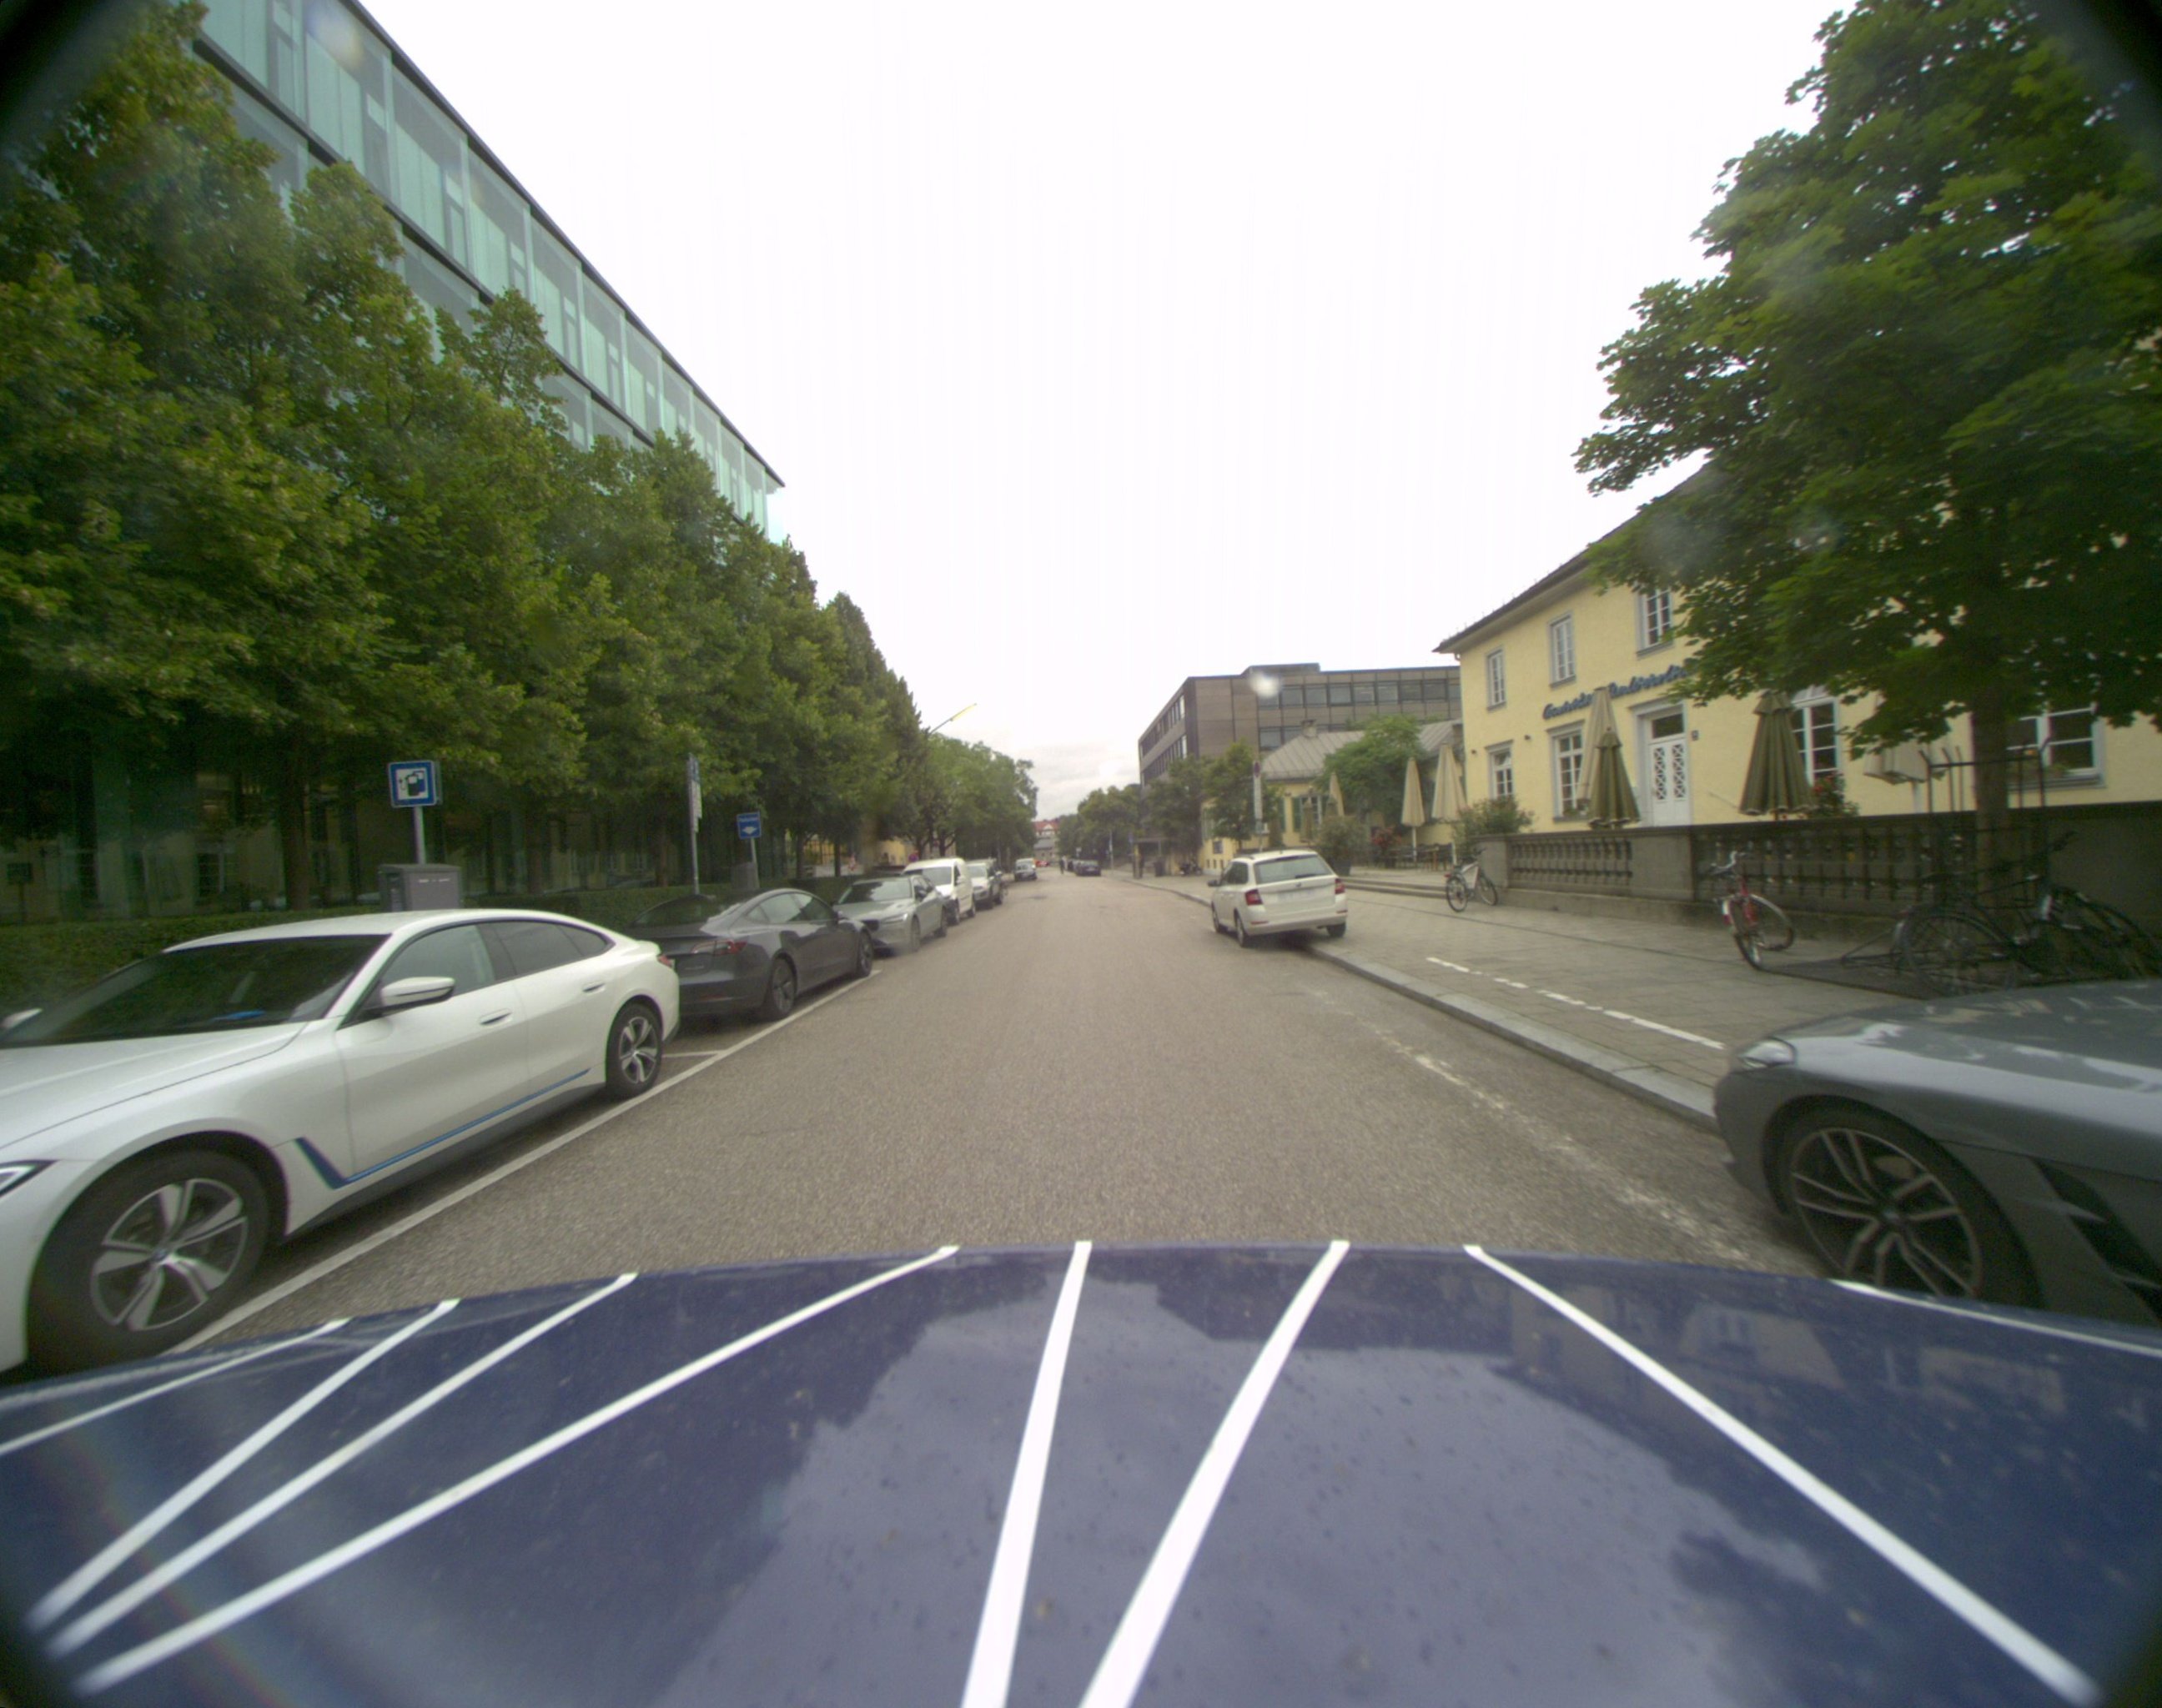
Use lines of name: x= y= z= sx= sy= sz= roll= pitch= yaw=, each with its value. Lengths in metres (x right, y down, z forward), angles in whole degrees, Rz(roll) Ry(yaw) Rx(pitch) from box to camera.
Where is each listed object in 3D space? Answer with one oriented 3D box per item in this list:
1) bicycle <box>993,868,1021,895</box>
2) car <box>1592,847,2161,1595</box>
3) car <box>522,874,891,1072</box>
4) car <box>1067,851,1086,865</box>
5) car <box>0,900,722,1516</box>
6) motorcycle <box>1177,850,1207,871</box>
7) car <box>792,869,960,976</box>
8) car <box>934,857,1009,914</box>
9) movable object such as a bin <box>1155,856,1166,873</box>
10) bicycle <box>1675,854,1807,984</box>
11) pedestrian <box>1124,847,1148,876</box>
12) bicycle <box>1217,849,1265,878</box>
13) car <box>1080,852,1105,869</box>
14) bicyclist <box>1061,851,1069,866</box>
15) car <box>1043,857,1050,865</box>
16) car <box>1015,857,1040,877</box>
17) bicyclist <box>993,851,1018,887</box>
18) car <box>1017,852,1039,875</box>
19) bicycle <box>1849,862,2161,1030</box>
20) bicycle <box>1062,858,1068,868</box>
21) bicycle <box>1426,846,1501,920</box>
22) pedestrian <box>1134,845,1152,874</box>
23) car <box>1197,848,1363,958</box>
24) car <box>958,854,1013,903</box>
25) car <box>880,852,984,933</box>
bicycle: x=-3.622 y=1.322 z=37.269 sx=0.720 sy=1.199 sz=1.803 roll=-5 pitch=-1 yaw=13
car: x=3.284 y=0.810 z=1.033 sx=1.901 sy=1.510 sz=4.654 roll=-5 pitch=0 yaw=-1
car: x=-4.095 y=1.174 z=9.491 sx=1.967 sy=1.543 sz=4.849 roll=-5 pitch=0 yaw=2
car: x=-0.574 y=0.502 z=93.883 sx=1.999 sy=1.555 sz=3.999 roll=-3 pitch=0 yaw=-3
car: x=-4.114 y=1.207 z=4.032 sx=1.999 sy=1.451 sz=4.956 roll=-5 pitch=0 yaw=-1
motorcycle: x=6.859 y=0.397 z=47.010 sx=1.664 sy=1.106 sz=0.591 roll=-6 pitch=2 yaw=41
car: x=-3.866 y=1.206 z=15.380 sx=1.952 sy=1.543 sz=5.004 roll=-5 pitch=0 yaw=0
car: x=-3.811 y=1.043 z=27.297 sx=1.872 sy=1.682 sz=4.784 roll=-5 pitch=0 yaw=0
movable object such as a bin: x=5.410 y=0.746 z=51.925 sx=0.615 sy=1.102 sz=0.460 roll=-5 pitch=1 yaw=-3
bicycle: x=6.450 y=0.581 z=7.397 sx=1.637 sy=1.082 sz=0.636 roll=-3 pitch=0 yaw=-38
pedestrian: x=4.113 y=0.548 z=57.396 sx=1.480 sy=2.002 sz=1.500 roll=-5 pitch=1 yaw=-3
bicycle: x=6.988 y=0.421 z=33.218 sx=1.847 sy=1.028 sz=0.466 roll=-8 pitch=0 yaw=0
car: x=0.984 y=0.604 z=69.196 sx=1.929 sy=1.390 sz=4.485 roll=-3 pitch=0 yaw=-3
bicyclist: x=-1.767 y=0.511 z=84.341 sx=0.903 sy=1.602 sz=1.067 roll=-1 pitch=1 yaw=-3
car: x=-9.876 y=1.935 z=217.569 sx=1.999 sy=2.002 sz=3.998 roll=-5 pitch=1 yaw=-4
car: x=-4.508 y=1.091 z=64.801 sx=1.959 sy=1.494 sz=4.485 roll=-5 pitch=0 yaw=-3
bicyclist: x=-3.684 y=0.720 z=37.207 sx=0.779 sy=1.657 sz=1.036 roll=-5 pitch=0 yaw=13
car: x=-4.877 y=0.867 z=70.860 sx=1.831 sy=1.884 sz=4.485 roll=-5 pitch=0 yaw=-3
bicycle: x=6.760 y=0.633 z=5.409 sx=1.727 sy=1.022 sz=0.645 roll=-4 pitch=0 yaw=8
bicycle: x=-1.780 y=0.986 z=84.272 sx=0.607 sy=1.014 sz=2.307 roll=-1 pitch=0 yaw=-3
bicycle: x=7.073 y=0.510 z=14.010 sx=1.571 sy=1.254 sz=0.569 roll=-3 pitch=0 yaw=-38
pedestrian: x=4.375 y=0.378 z=53.708 sx=0.977 sy=2.002 sz=0.914 roll=-5 pitch=1 yaw=-3
car: x=3.261 y=0.713 z=13.372 sx=1.729 sy=1.483 sz=4.461 roll=-5 pitch=0 yaw=1
car: x=-3.953 y=0.954 z=32.036 sx=1.815 sy=1.797 sz=4.346 roll=-5 pitch=0 yaw=-3
car: x=-4.020 y=0.957 z=21.261 sx=1.789 sy=1.884 sz=4.574 roll=-5 pitch=0 yaw=1
